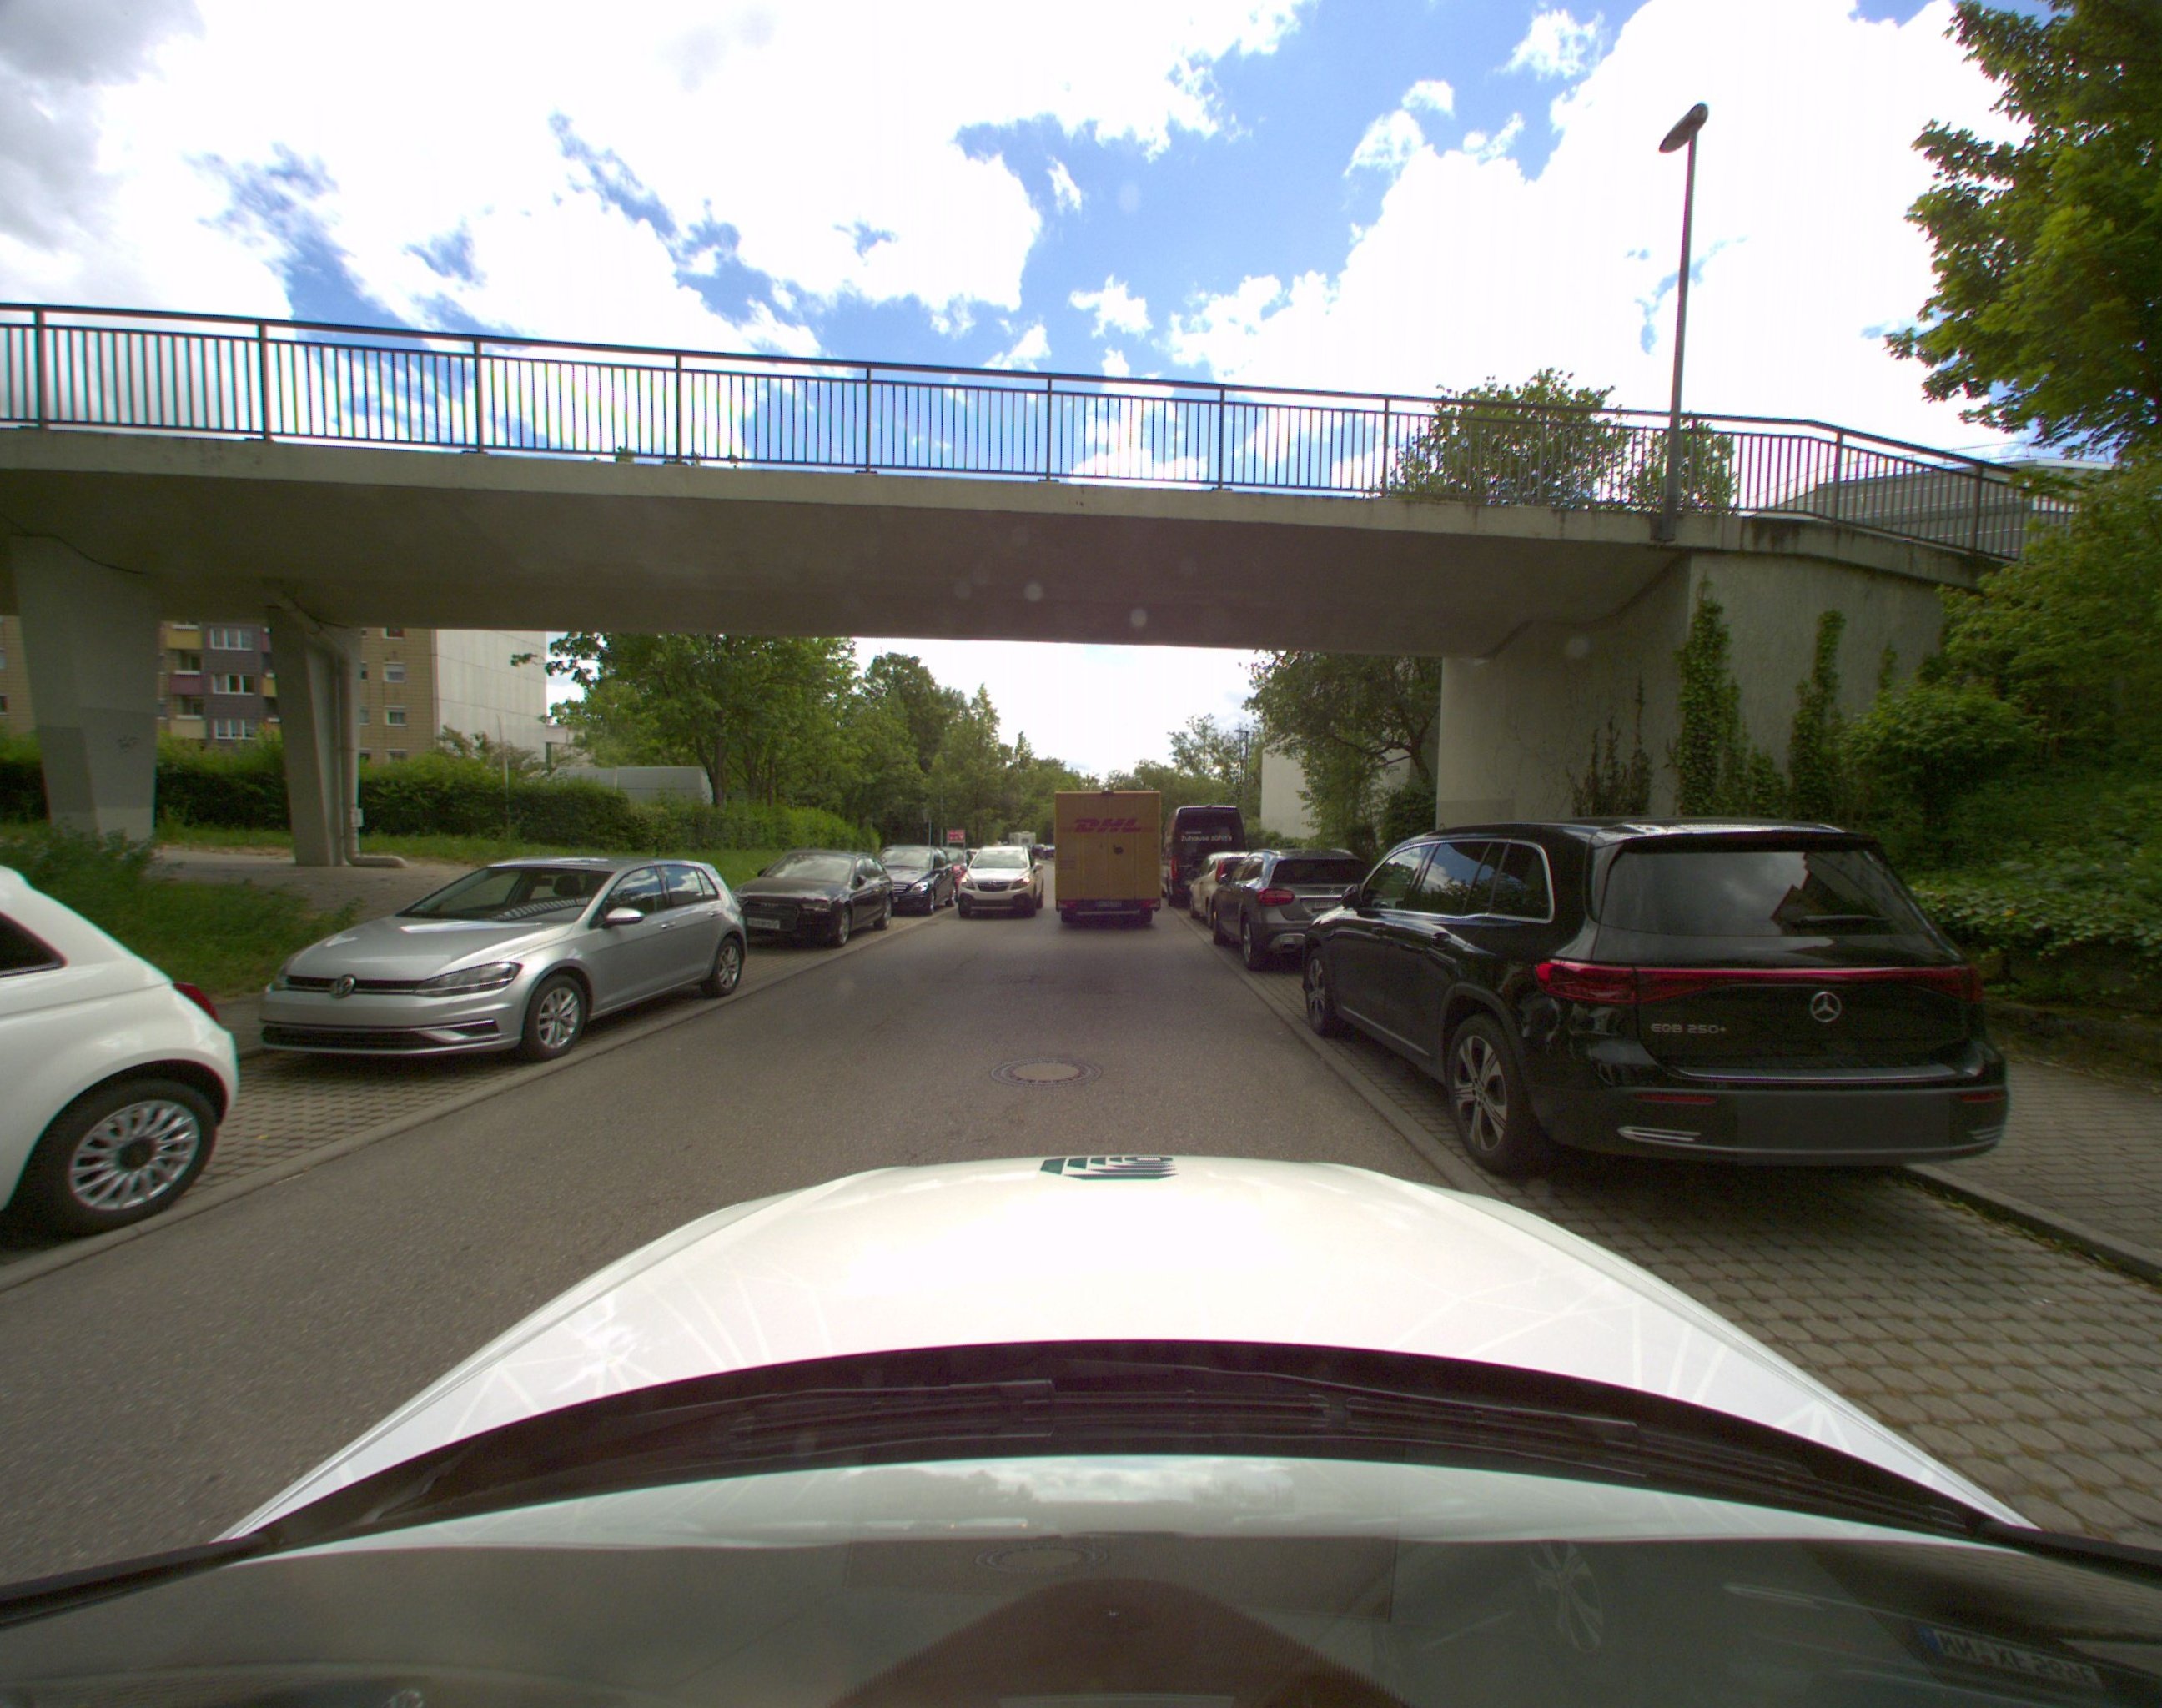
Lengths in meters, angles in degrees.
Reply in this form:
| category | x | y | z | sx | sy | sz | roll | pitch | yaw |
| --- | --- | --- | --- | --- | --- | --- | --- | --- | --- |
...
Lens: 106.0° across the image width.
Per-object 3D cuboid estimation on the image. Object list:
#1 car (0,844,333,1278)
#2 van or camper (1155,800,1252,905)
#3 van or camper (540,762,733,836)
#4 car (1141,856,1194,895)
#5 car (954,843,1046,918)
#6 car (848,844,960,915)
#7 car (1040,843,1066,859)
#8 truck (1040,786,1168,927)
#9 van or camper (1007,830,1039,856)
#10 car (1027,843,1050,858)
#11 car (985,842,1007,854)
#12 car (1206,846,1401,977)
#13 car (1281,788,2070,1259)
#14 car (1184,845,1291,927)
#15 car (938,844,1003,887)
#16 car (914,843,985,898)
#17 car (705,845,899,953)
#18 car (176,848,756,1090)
| category | x | y | z | sx | sy | sz | roll | pitch | yaw |
| --- | --- | --- | --- | --- | --- | --- | --- | --- | --- |
| car | -4.737 | 0.718 | 2.262 | 1.877 | 1.460 | 3.549 | 3 | 0 | 2 |
| van or camper | 3.285 | -0.052 | 22.877 | 1.986 | 2.523 | 5.473 | -2 | 0 | 2 |
| van or camper | -13.716 | -1.680 | 25.388 | 4.844 | 2.085 | 1.998 | 1 | 2 | -4 |
| car | 3.498 | 0.836 | 33.421 | 1.723 | 1.433 | 3.968 | 1 | 0 | 0 |
| car | -1.886 | 0.563 | 20.044 | 1.741 | 1.611 | 4.053 | 0 | 1 | 1 |
| car | -4.254 | 0.555 | 20.177 | 1.878 | 1.559 | 3.839 | 1 | 1 | 1 |
| car | -2.957 | -0.322 | 85.014 | 1.847 | 1.529 | 3.980 | 1 | 2 | -15 |
| truck | 0.481 | 0.001 | 19.094 | 2.458 | 2.702 | 6.825 | 0 | 1 | 0 |
| van or camper | -7.064 | -1.369 | 98.754 | 2.332 | 2.871 | 5.224 | -1 | 3 | -21 |
| car | -4.852 | -0.375 | 92.164 | 1.847 | 1.529 | 3.980 | 1 | 2 | -15 |
| car | -11.696 | -0.869 | 111.242 | 1.852 | 1.529 | 3.969 | 0 | 2 | -24 |
| car | 2.864 | 0.635 | 11.365 | 1.693 | 1.496 | 4.120 | 0 | 1 | 1 |
| car | 2.696 | 0.567 | 5.131 | 1.808 | 1.678 | 4.370 | -1 | 1 | 0 |
| car | 3.119 | 0.571 | 16.792 | 1.557 | 1.496 | 3.331 | -1 | 1 | 0 |
| car | -3.968 | 0.361 | 29.780 | 1.668 | 1.436 | 3.971 | 1 | 1 | 2 |
| car | -3.889 | 0.452 | 24.463 | 1.522 | 1.506 | 2.715 | 1 | 1 | 3 |
| car | -4.520 | 0.624 | 13.984 | 1.880 | 1.509 | 4.449 | 1 | 1 | -2 |
| car | -4.663 | 0.702 | 7.099 | 1.877 | 1.427 | 4.003 | 1 | 1 | 2 |
